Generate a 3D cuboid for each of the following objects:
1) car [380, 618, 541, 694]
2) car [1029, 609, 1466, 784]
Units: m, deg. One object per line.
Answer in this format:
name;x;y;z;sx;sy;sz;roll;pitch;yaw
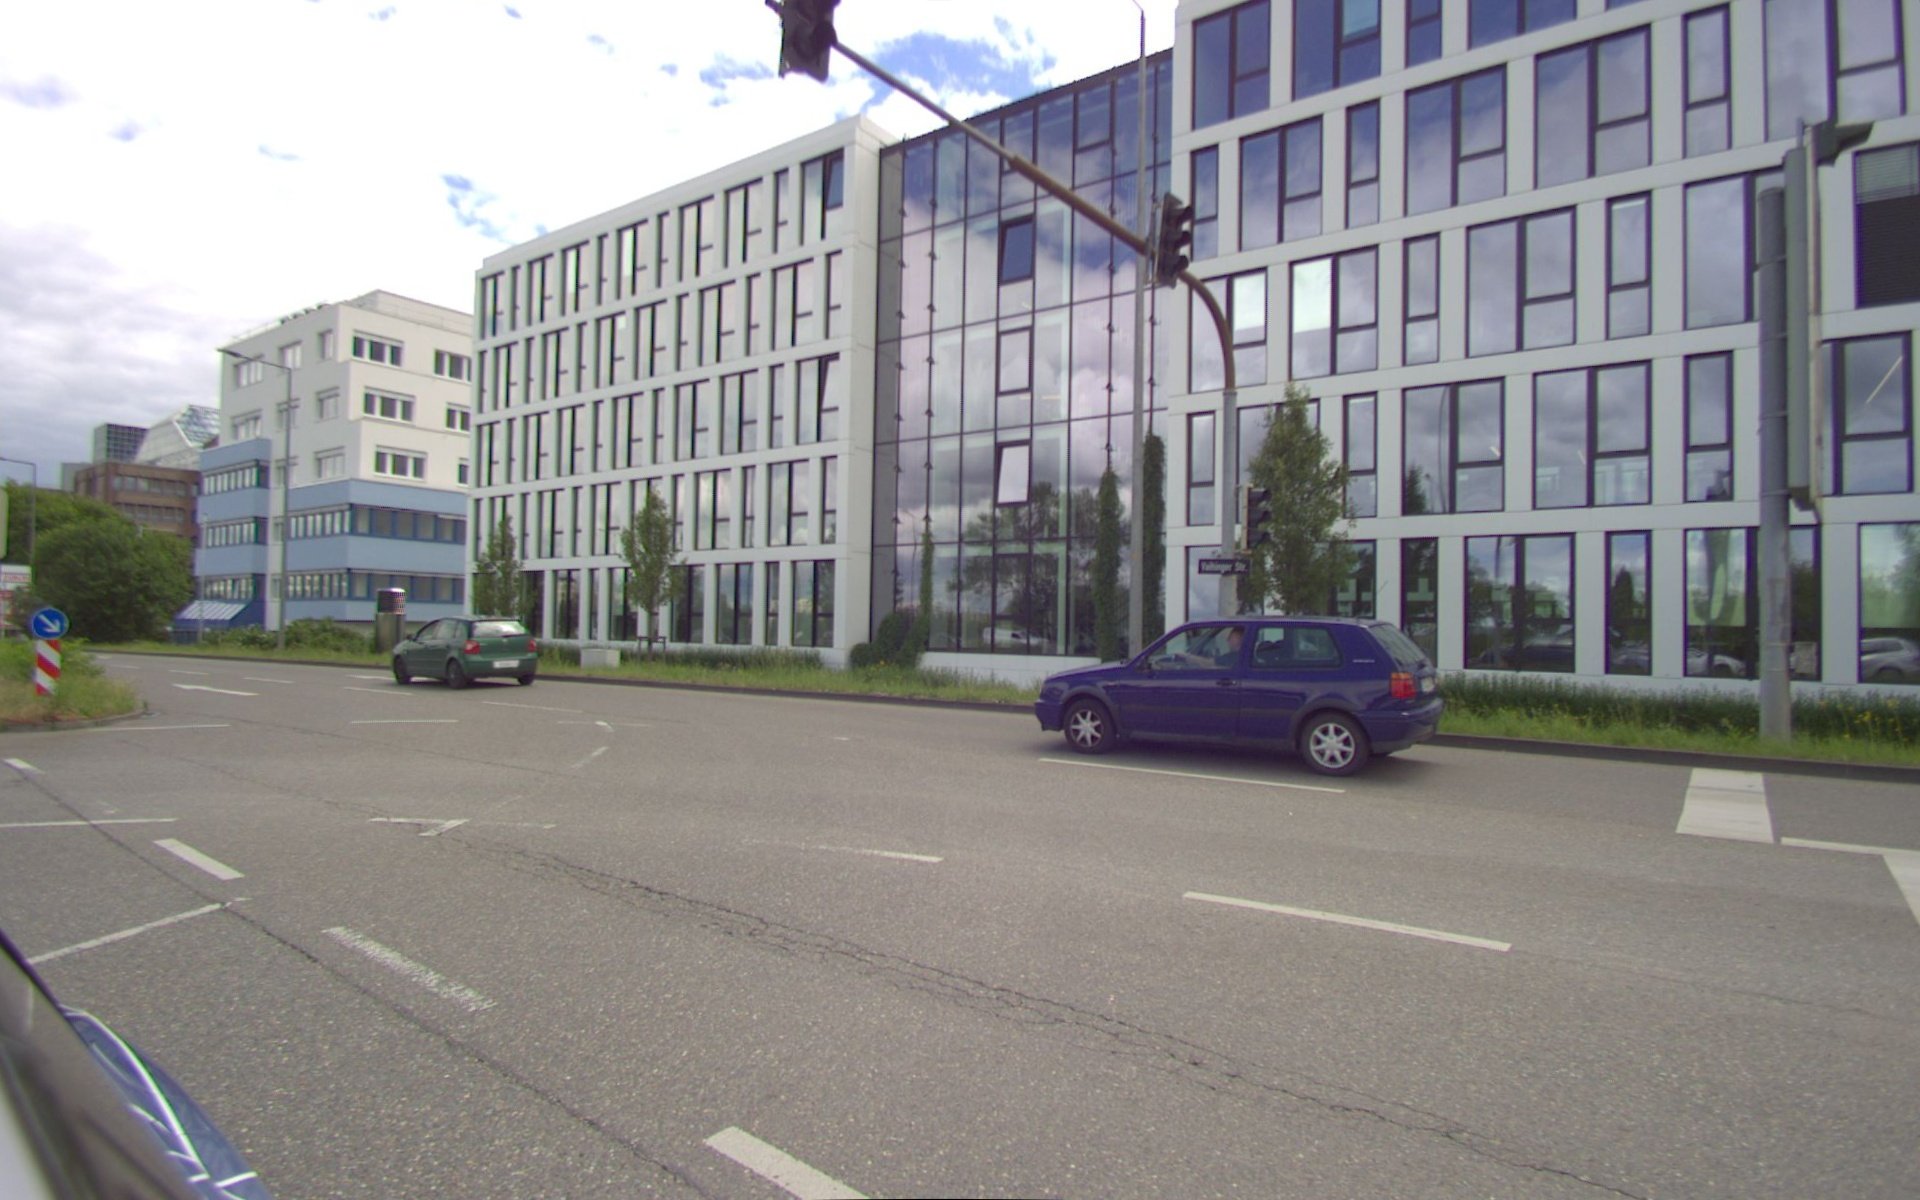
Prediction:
car;-10.493;1.118;21.188;3.748;1.443;1.590;-1;-1;39
car;2.745;0.828;10.065;3.888;1.430;1.540;-1;-1;36
